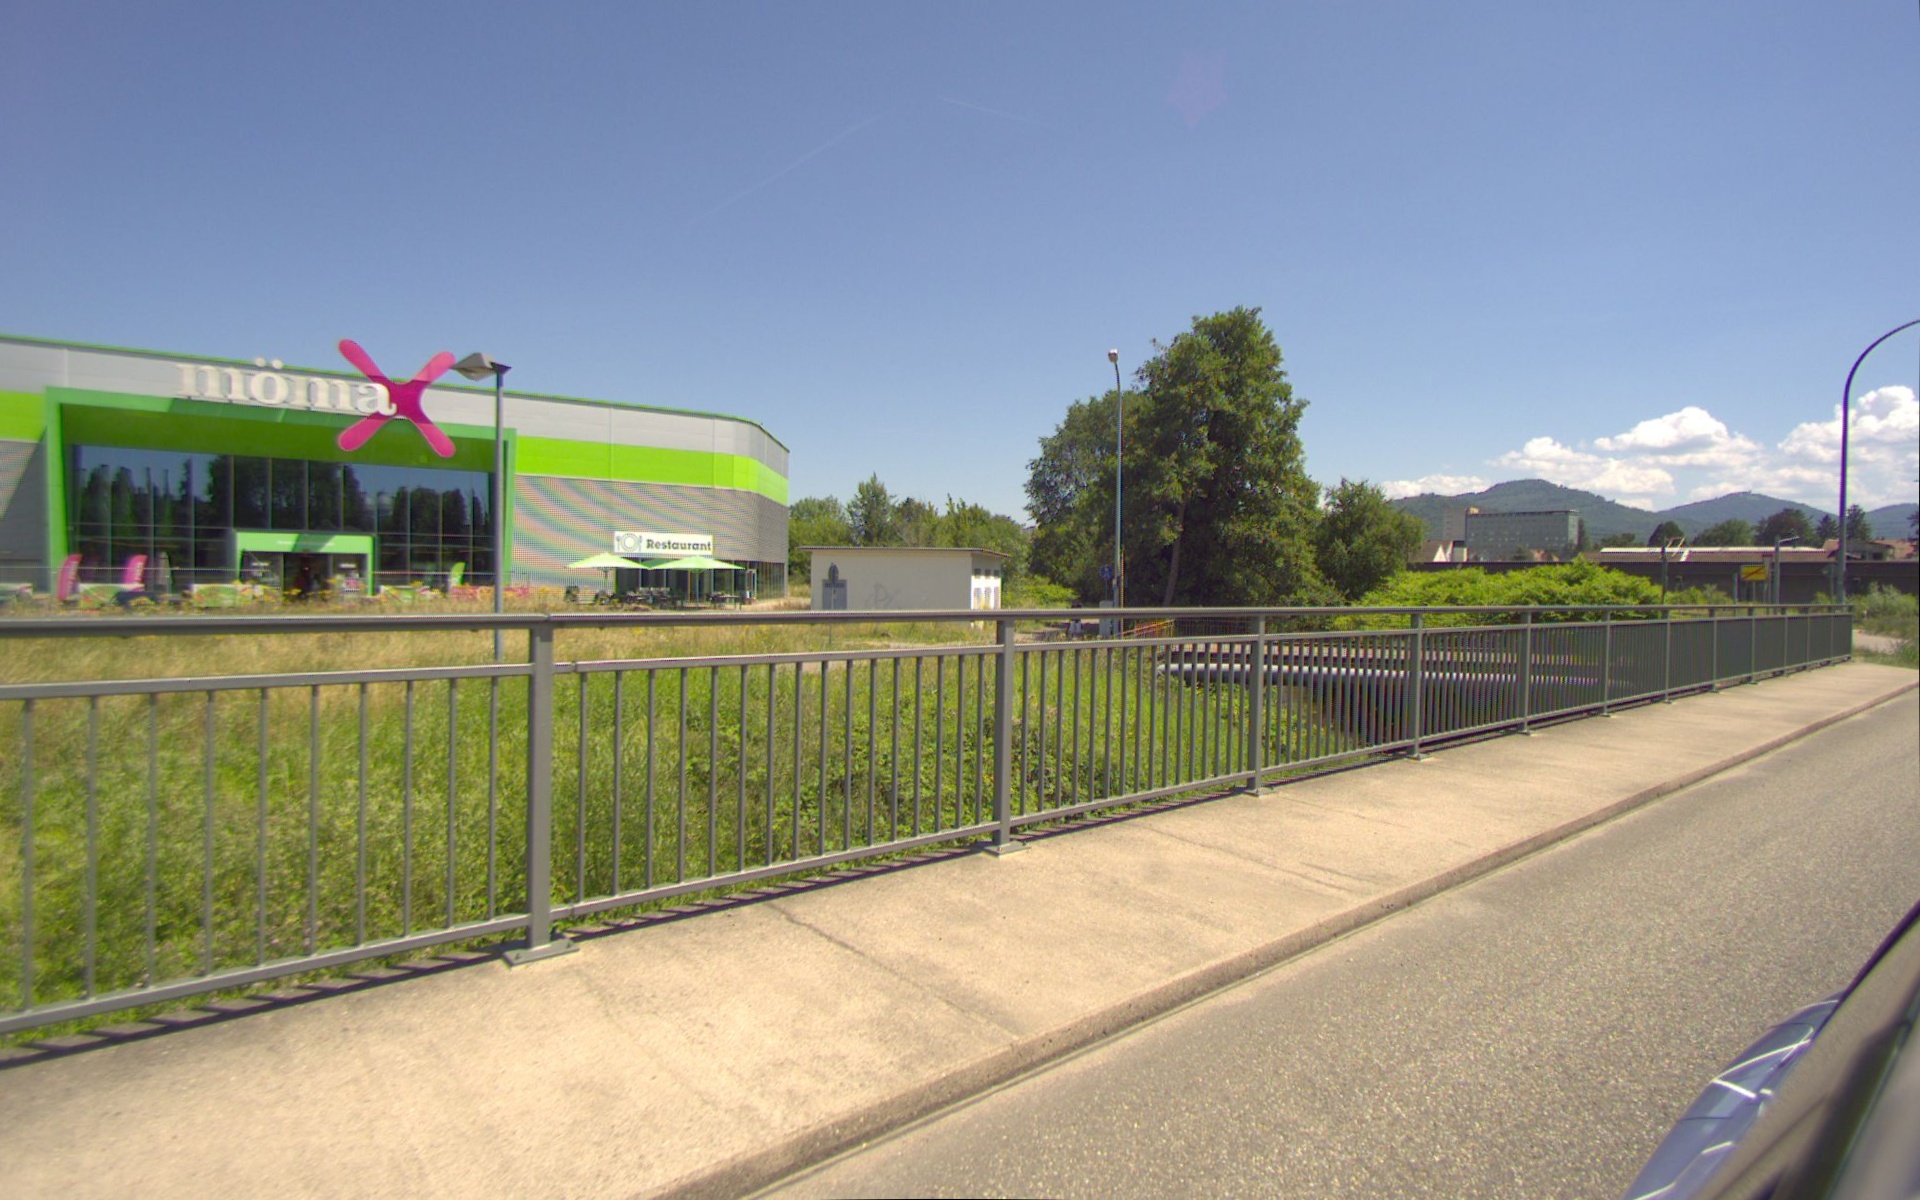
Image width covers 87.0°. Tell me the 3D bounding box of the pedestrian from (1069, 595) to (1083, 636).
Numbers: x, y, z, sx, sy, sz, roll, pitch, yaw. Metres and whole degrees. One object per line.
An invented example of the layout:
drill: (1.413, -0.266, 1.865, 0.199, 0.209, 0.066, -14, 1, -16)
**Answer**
pedestrian: (4.458, 0.609, 39.005, 0.433, 1.558, 0.411, 0, -2, 22)

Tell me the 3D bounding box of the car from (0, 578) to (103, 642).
car: (-27.551, 0.231, 30.692, 1.879, 1.674, 4.002, -1, 3, -34)

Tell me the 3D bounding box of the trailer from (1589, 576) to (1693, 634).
trailer: (26.542, 0.135, 39.606, 1.821, 2.103, 3.960, 0, 1, 9)

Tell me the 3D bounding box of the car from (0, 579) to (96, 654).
car: (-23.684, 0.360, 25.916, 1.879, 1.674, 4.002, -1, 3, -34)
